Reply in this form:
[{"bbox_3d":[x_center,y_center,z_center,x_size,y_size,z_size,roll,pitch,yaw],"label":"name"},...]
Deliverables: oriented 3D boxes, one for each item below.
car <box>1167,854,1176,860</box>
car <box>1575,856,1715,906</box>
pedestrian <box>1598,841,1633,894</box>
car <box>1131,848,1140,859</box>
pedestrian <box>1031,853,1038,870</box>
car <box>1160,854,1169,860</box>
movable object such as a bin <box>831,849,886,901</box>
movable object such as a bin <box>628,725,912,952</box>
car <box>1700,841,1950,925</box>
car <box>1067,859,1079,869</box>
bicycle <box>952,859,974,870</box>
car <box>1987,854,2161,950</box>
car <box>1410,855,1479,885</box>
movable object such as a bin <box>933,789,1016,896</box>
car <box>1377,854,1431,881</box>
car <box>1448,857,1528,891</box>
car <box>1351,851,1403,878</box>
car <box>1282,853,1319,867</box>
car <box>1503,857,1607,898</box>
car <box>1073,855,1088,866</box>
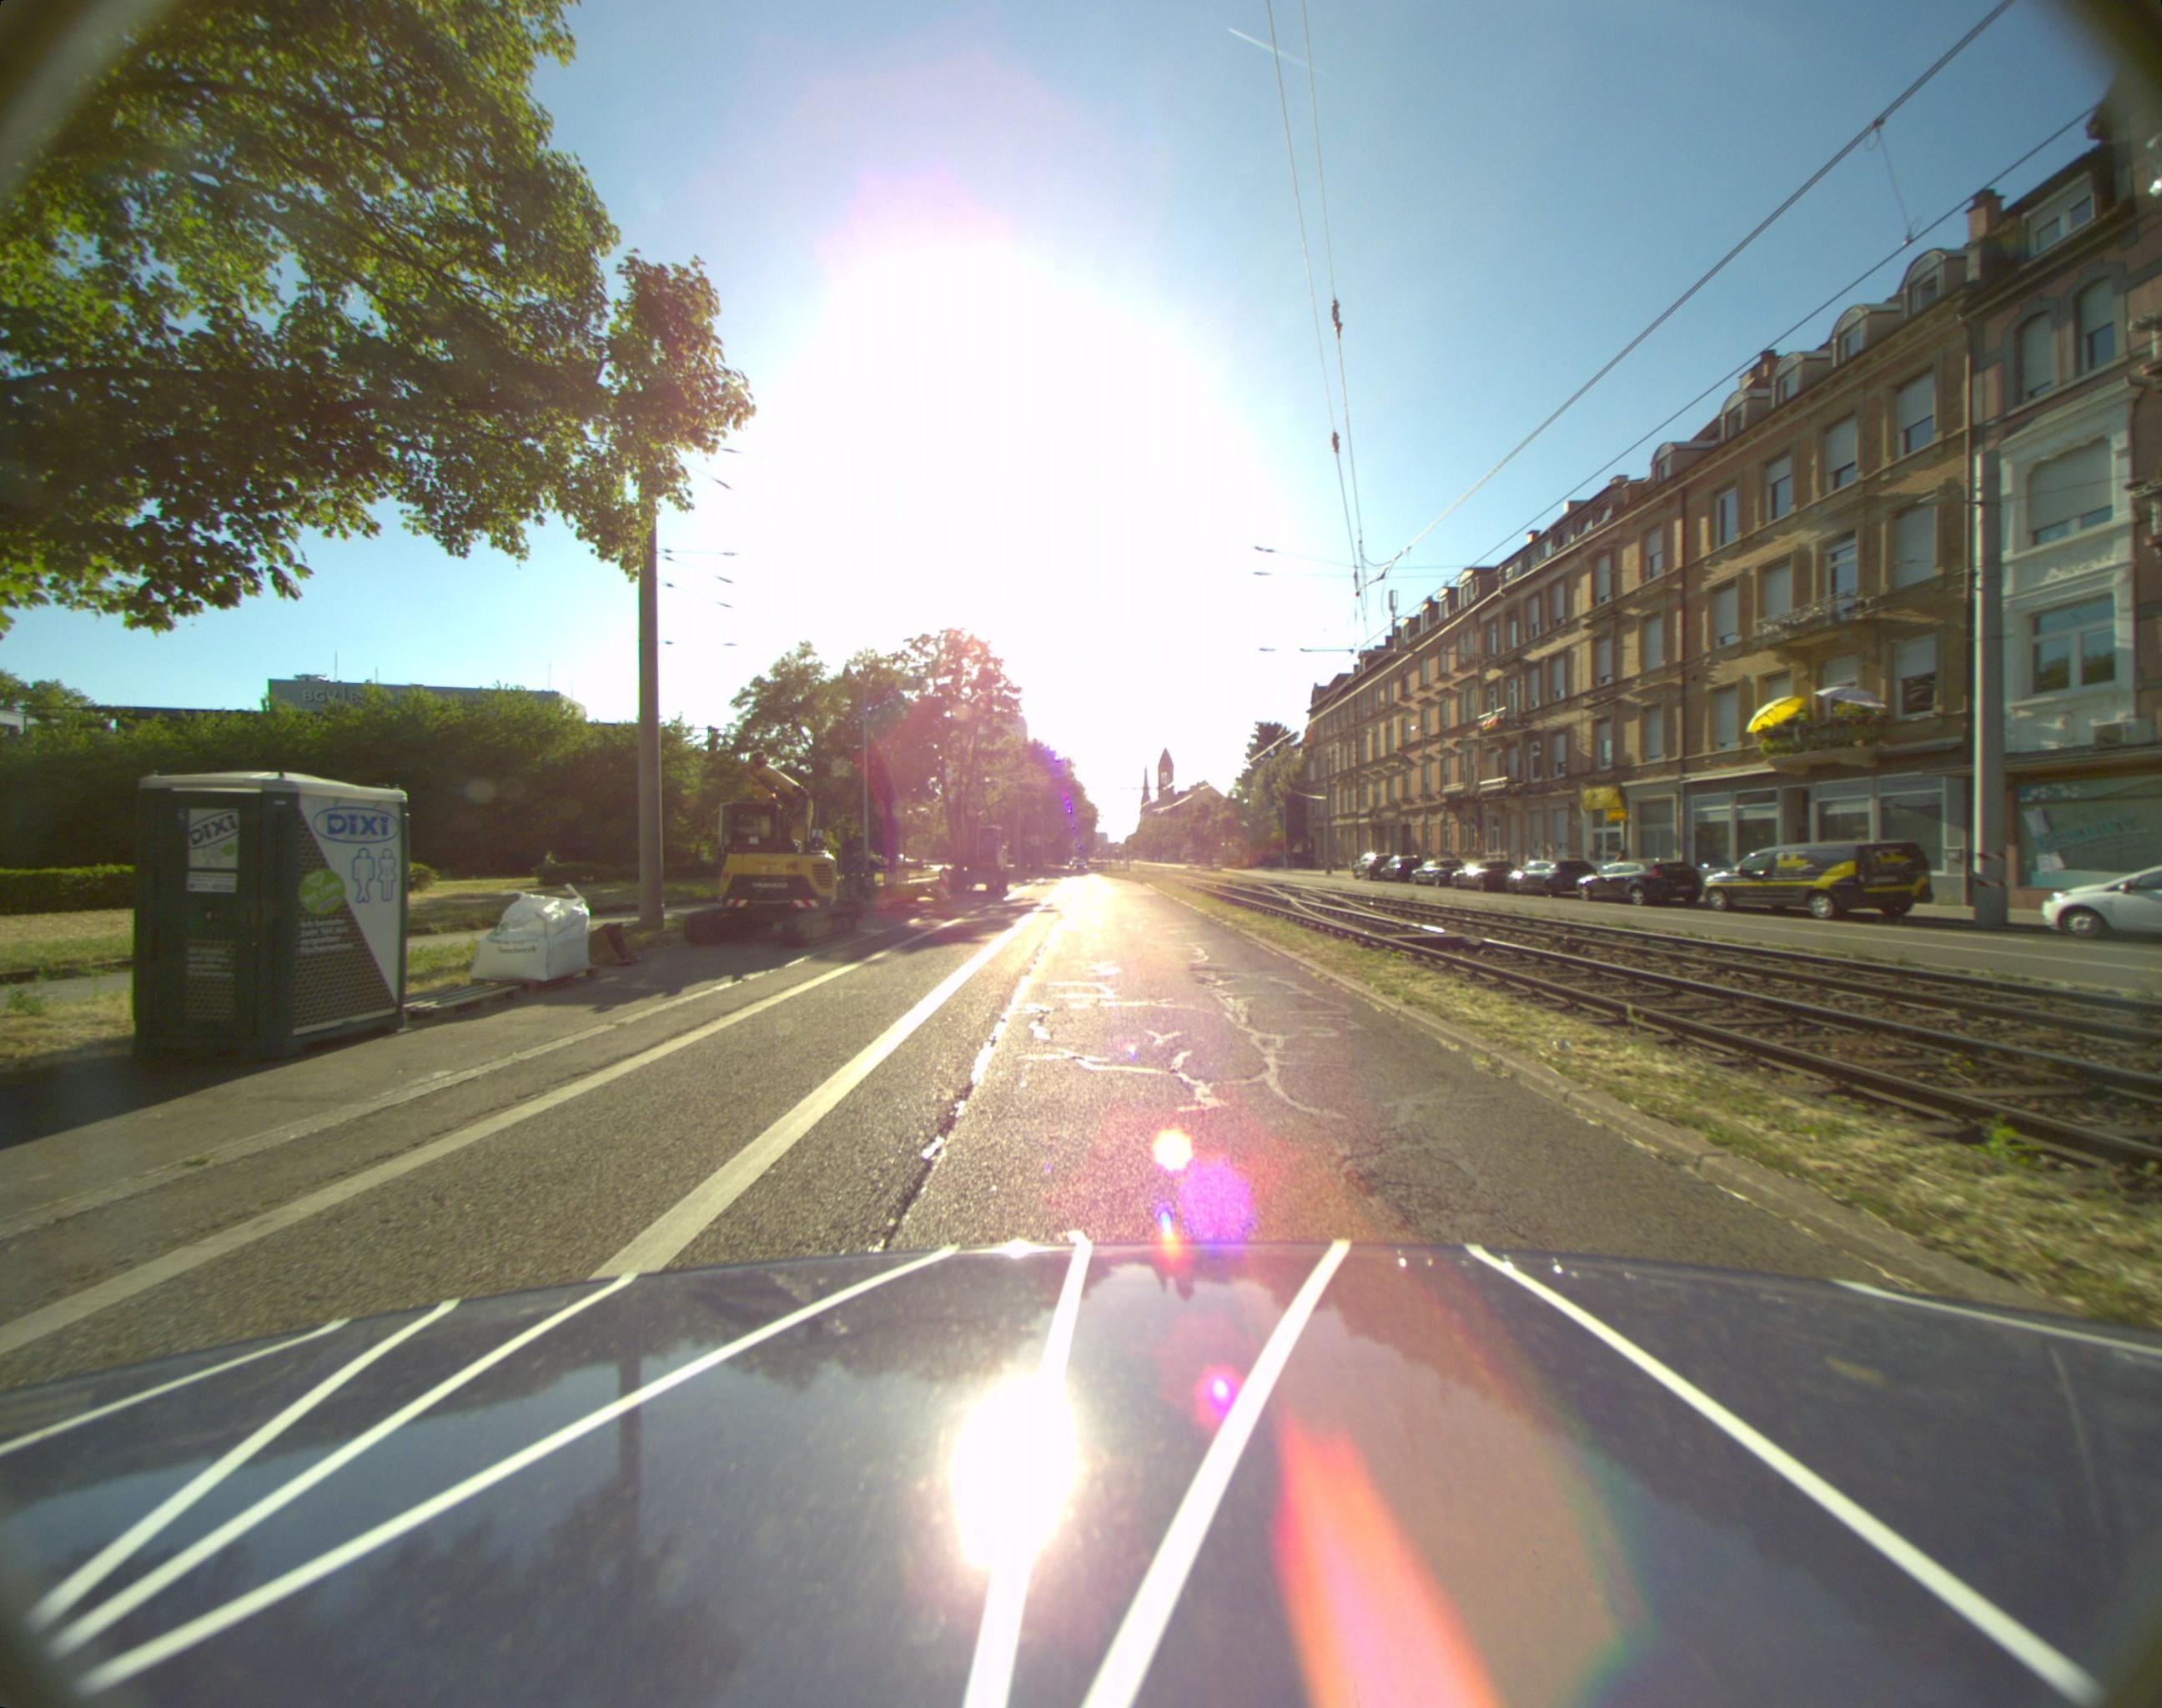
[{"bbox_3d":[21.766,0.663,183.030,1.799,1.501,3.999,0,0,-1],"label":"car"},{"bbox_3d":[18.356,0.825,24.985,1.664,1.437,3.981,-2,0,1],"label":"car"},{"bbox_3d":[20.782,0.534,29.556,0.637,2.002,0.875,-3,2,-28],"label":"pedestrian"},{"bbox_3d":[13.114,-0.164,182.843,1.799,2.766,4.000,0,0,1],"label":"car"},{"bbox_3d":[-4.559,0.745,74.751,0.532,1.653,0.486,1,0,-22],"label":"pedestrian"},{"bbox_3d":[21.159,0.768,192.878,1.799,1.501,3.999,0,0,-1],"label":"car"},{"bbox_3d":[-7.726,0.712,26.456,1.320,1.659,1.303,5,1,5],"label":"movable object such as a bin"},{"bbox_3d":[-6.423,-0.279,17.434,3.347,3.953,7.597,2,0,-1],"label":"movable object such as a bin"},{"bbox_3d":[18.487,0.637,19.269,1.664,1.797,4.728,-2,0,0],"label":"car"},{"bbox_3d":[-1.252,1.614,123.167,1.798,1.501,4.000,-3,0,1],"label":"car"},{"bbox_3d":[-11.623,1.061,74.820,2.057,0.973,0.723,-2,1,33],"label":"bicycle"},{"bbox_3d":[18.905,0.810,12.758,1.925,1.529,4.627,-2,0,1],"label":"car"},{"bbox_3d":[19.116,0.812,40.175,1.664,1.437,4.196,-2,0,1],"label":"car"},{"bbox_3d":[-5.026,-0.516,37.332,2.922,4.584,7.597,2,0,-1],"label":"movable object such as a bin"},{"bbox_3d":[19.319,0.769,45.610,1.664,1.437,3.765,-2,0,1],"label":"car"},{"bbox_3d":[18.936,0.886,35.548,1.664,1.437,3.981,-2,0,1],"label":"car"},{"bbox_3d":[19.361,0.636,49.935,1.798,1.633,4.631,-2,0,4],"label":"car"},{"bbox_3d":[26.284,0.734,90.880,3.991,1.502,1.802,-2,1,22],"label":"car"},{"bbox_3d":[18.714,0.882,30.196,1.664,1.437,3.981,-2,0,1],"label":"car"},{"bbox_3d":[-0.043,0.865,102.662,1.798,1.501,4.000,-3,0,1],"label":"car"}]
